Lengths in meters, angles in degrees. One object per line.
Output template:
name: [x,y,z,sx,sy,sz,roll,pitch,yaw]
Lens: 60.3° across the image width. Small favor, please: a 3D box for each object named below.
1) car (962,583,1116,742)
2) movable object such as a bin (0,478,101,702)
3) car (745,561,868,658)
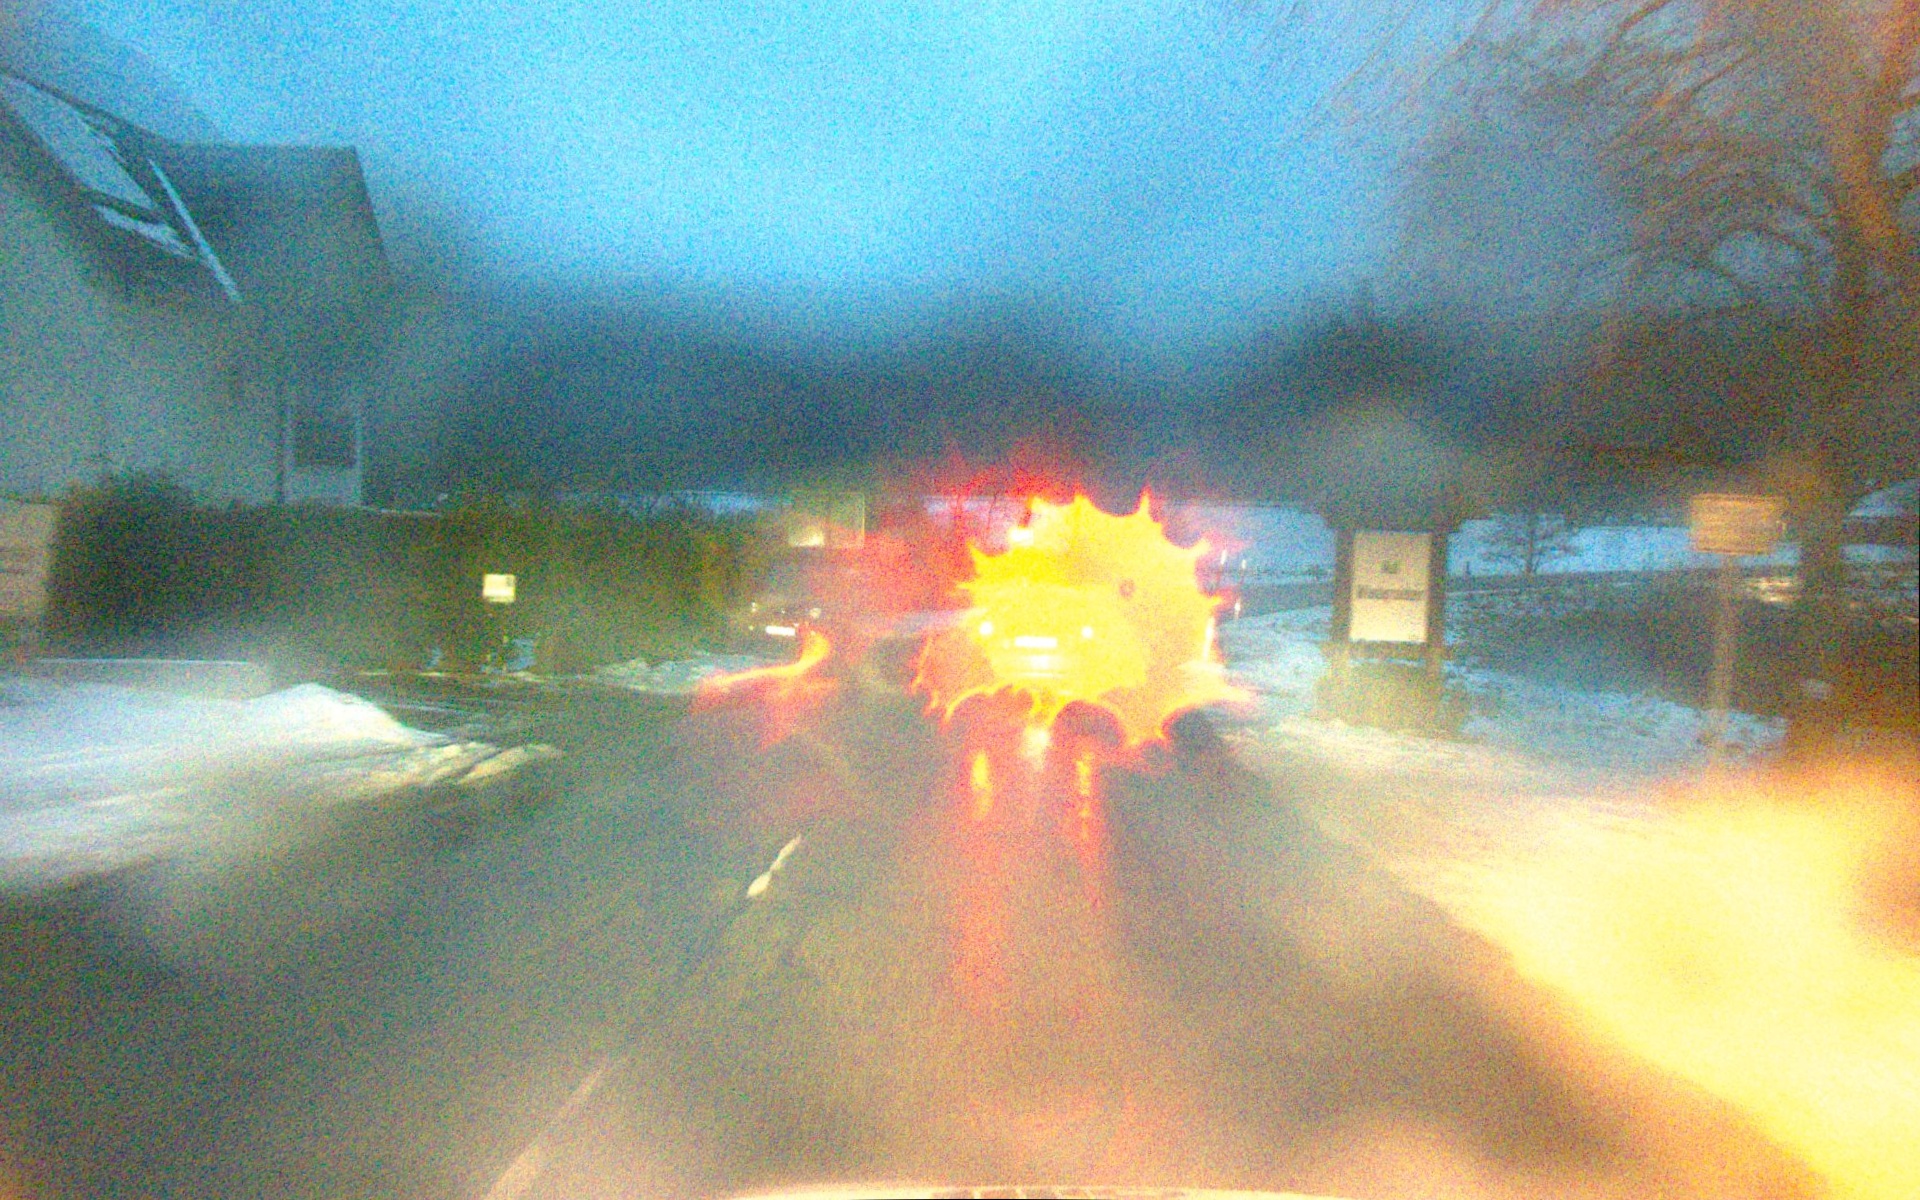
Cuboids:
car: [0.968,0.775,21.966,1.785,1.828,3.577,3,0,0]
movable object such as a bin: [-8.295,-0.177,13.087,2.318,1.676,1.440,6,2,24]
car: [-2.836,0.127,31.202,1.682,1.560,3.520,2,3,4]
